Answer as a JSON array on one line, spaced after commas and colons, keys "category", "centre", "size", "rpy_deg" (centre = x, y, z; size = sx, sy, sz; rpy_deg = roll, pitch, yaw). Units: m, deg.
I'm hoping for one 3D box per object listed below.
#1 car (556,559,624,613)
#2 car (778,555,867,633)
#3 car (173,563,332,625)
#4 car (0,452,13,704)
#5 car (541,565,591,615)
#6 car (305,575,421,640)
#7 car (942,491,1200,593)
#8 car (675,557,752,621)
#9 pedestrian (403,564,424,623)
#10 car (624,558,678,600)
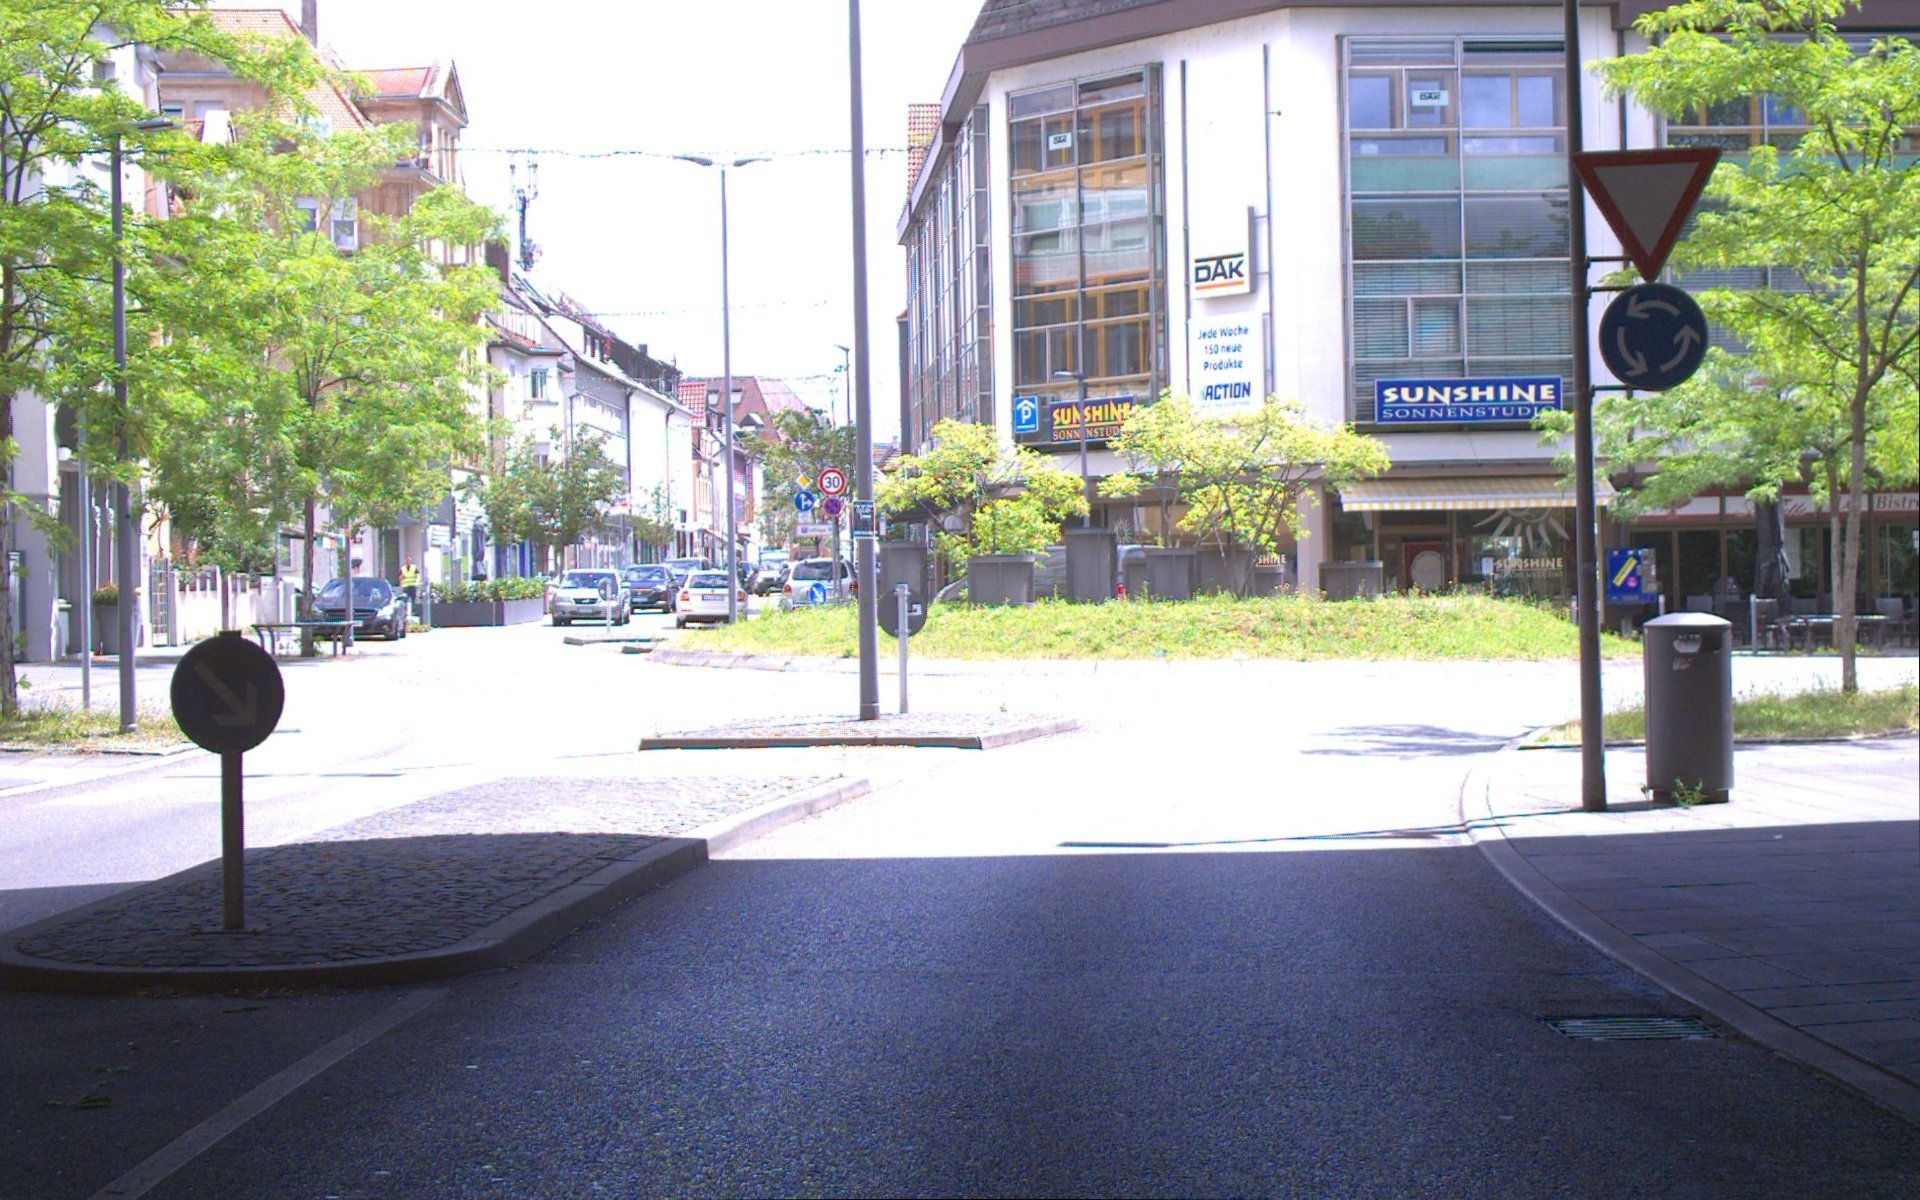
[{"category": "car", "centre": [-9.624, -0.376, 89.215], "size": [1.709, 1.349, 4.001], "rpy_deg": [0, 1, -6]}, {"category": "car", "centre": [-3.215, -0.156, 80.923], "size": [1.824, 1.725, 4.233], "rpy_deg": [-2, 0, 1]}, {"category": "car", "centre": [-21.004, -0.185, 101.994], "size": [4.417, 1.769, 2.001], "rpy_deg": [-1, 0, -18]}, {"category": "car", "centre": [-10.602, -0.207, 33.209], "size": [1.967, 2.598, 5.932], "rpy_deg": [0, 1, -7]}, {"category": "car", "centre": [-13.893, -0.382, 121.203], "size": [1.709, 1.706, 4.001], "rpy_deg": [0, 1, -6]}, {"category": "car", "centre": [-12.224, 0.132, 70.646], "size": [1.709, 1.241, 4.412], "rpy_deg": [0, 1, -1]}, {"category": "car", "centre": [1.857, -0.991, 58.932], "size": [1.994, 1.682, 4.692], "rpy_deg": [-1, 1, -35]}, {"category": "car", "centre": [-6.088, -0.273, 85.164], "size": [1.824, 1.514, 4.233], "rpy_deg": [-1, 0, -4]}, {"category": "pedestrian", "centre": [-15.785, -0.189, 99.283], "size": [0.551, 1.680, 0.516], "rpy_deg": [0, 1, -6]}, {"category": "car", "centre": [-10.401, -0.723, 115.725], "size": [1.709, 1.349, 4.001], "rpy_deg": [0, 1, -6]}]
